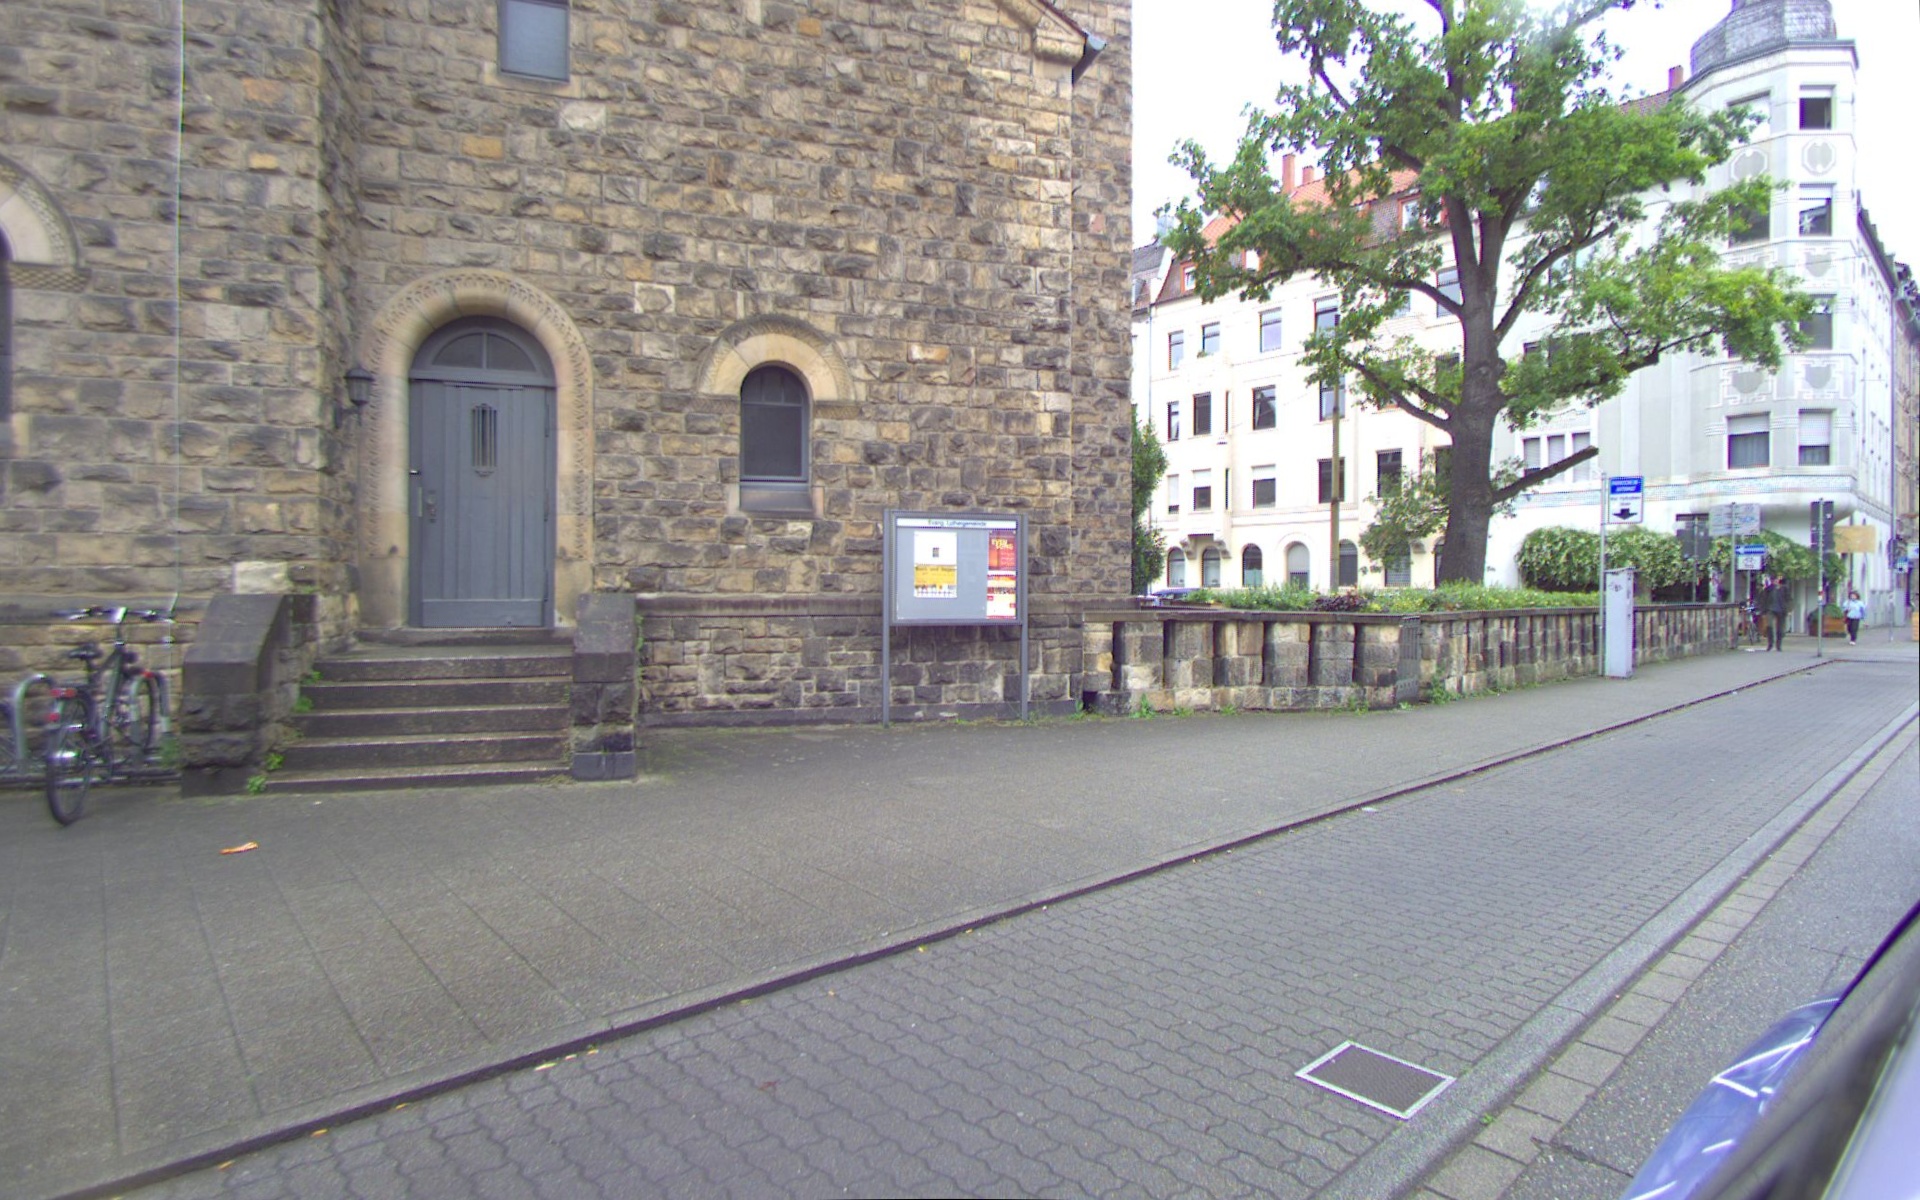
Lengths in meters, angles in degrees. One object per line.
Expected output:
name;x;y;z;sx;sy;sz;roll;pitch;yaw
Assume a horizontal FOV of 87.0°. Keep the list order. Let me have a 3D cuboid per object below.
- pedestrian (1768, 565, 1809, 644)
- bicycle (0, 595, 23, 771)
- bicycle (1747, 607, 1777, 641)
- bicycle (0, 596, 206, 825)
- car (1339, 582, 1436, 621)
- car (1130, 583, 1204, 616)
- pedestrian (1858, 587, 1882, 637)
pedestrian;20.196;0.092;24.673;0.681;1.896;0.645;0;1;-42
bicycle;-6.245;0.568;5.994;0.550;1.125;1.717;0;3;-27
bicycle;24.513;0.726;30.912;1.990;0.904;0.390;-3;3;-42
bicycle;-5.075;0.555;6.094;0.502;1.067;1.994;0;3;-27
car;16.915;0.040;40.128;1.421;1.427;3.271;0;1;-38
car;9.724;-0.048;47.707;1.421;1.427;3.271;0;1;-38
pedestrian;27.247;0.349;30.308;0.385;1.479;0.481;0;1;-42
